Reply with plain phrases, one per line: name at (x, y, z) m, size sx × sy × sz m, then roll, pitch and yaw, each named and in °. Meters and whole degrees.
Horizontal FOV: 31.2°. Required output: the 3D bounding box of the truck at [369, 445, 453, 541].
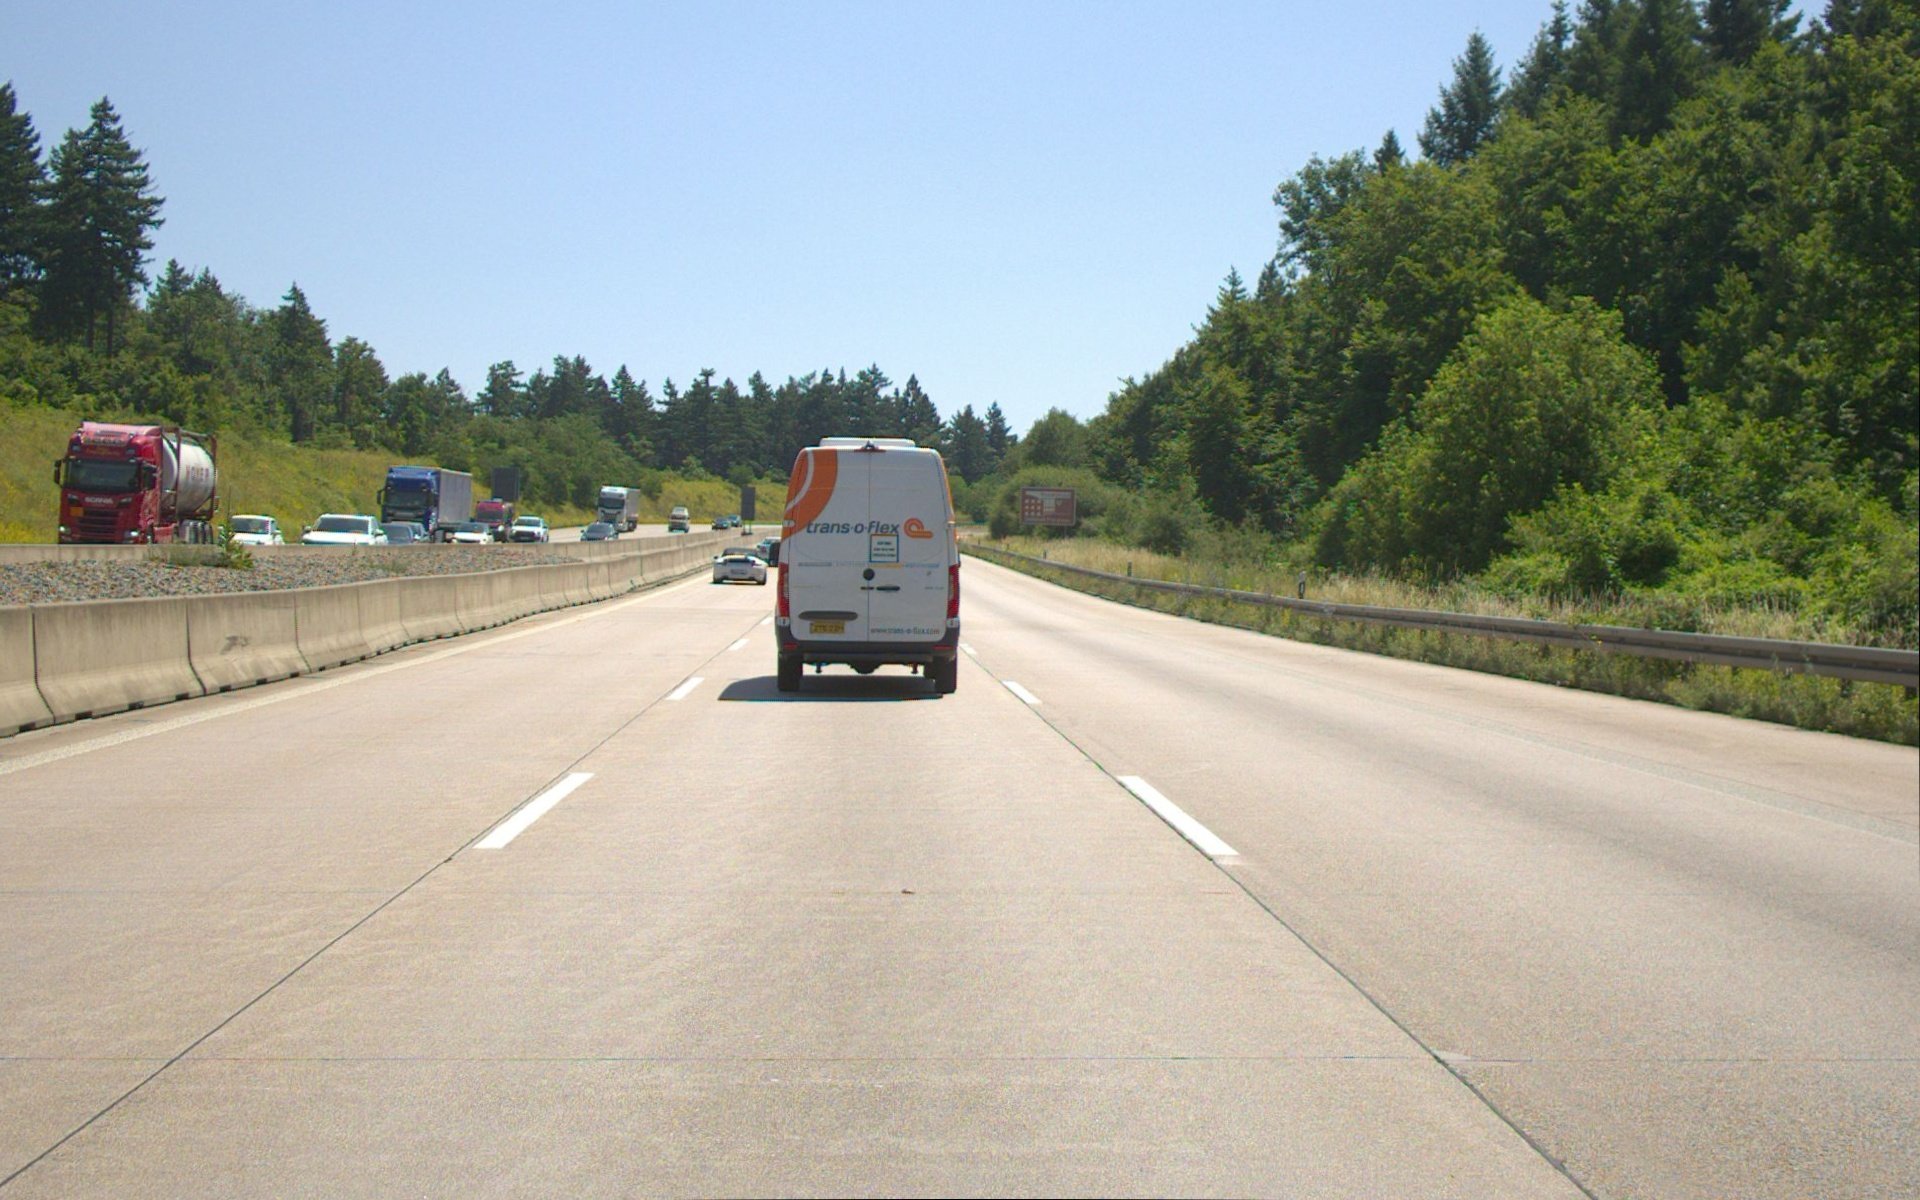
truck at (-27.210, -5.257, 170.633) m, size 3.256 × 4.489 × 6.575 m, roll 2°, pitch 1°, yaw -2°

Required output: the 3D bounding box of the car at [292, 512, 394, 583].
car at (-17.038, -1.455, 95.113) m, size 1.993 × 1.866 × 4.968 m, roll 2°, pitch 1°, yaw -1°

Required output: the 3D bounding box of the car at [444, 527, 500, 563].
car at (-22.597, -2.535, 159.426) m, size 1.993 × 1.577 × 4.530 m, roll 2°, pitch 1°, yaw -1°

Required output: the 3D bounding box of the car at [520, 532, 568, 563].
car at (-22.573, -2.856, 186.613) m, size 1.993 × 1.577 × 5.519 m, roll 2°, pitch 1°, yaw -1°

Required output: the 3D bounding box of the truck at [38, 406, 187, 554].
truck at (-25.163, -3.496, 102.314) m, size 2.933 × 4.154 × 5.982 m, roll 2°, pitch 1°, yaw -1°

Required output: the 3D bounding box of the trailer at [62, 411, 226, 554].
trailer at (-25.284, -3.559, 106.987) m, size 2.933 × 4.154 × 9.335 m, roll 2°, pitch 1°, yaw -2°

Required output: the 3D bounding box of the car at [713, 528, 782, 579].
car at (-7.537, -1.649, 122.105) m, size 1.994 × 1.678 × 4.000 m, roll 2°, pitch 1°, yaw 2°

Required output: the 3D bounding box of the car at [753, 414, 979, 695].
car at (-1.078, -0.542, 38.492) m, size 2.226 × 2.834 × 5.455 m, roll 3°, pitch 1°, yaw -2°

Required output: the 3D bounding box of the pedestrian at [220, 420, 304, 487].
pedestrian at (-22.951, -4.797, 113.150) m, size 1.993 × 2.007 × 4.000 m, roll 2°, pitch 1°, yaw -2°

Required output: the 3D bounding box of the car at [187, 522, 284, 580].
car at (-21.097, -1.430, 100.211) m, size 1.993 × 1.577 × 4.180 m, roll 2°, pitch 1°, yaw -1°

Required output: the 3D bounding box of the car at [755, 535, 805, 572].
car at (-8.673, -2.225, 165.635) m, size 1.994 × 1.678 × 4.000 m, roll 2°, pitch 1°, yaw 2°
